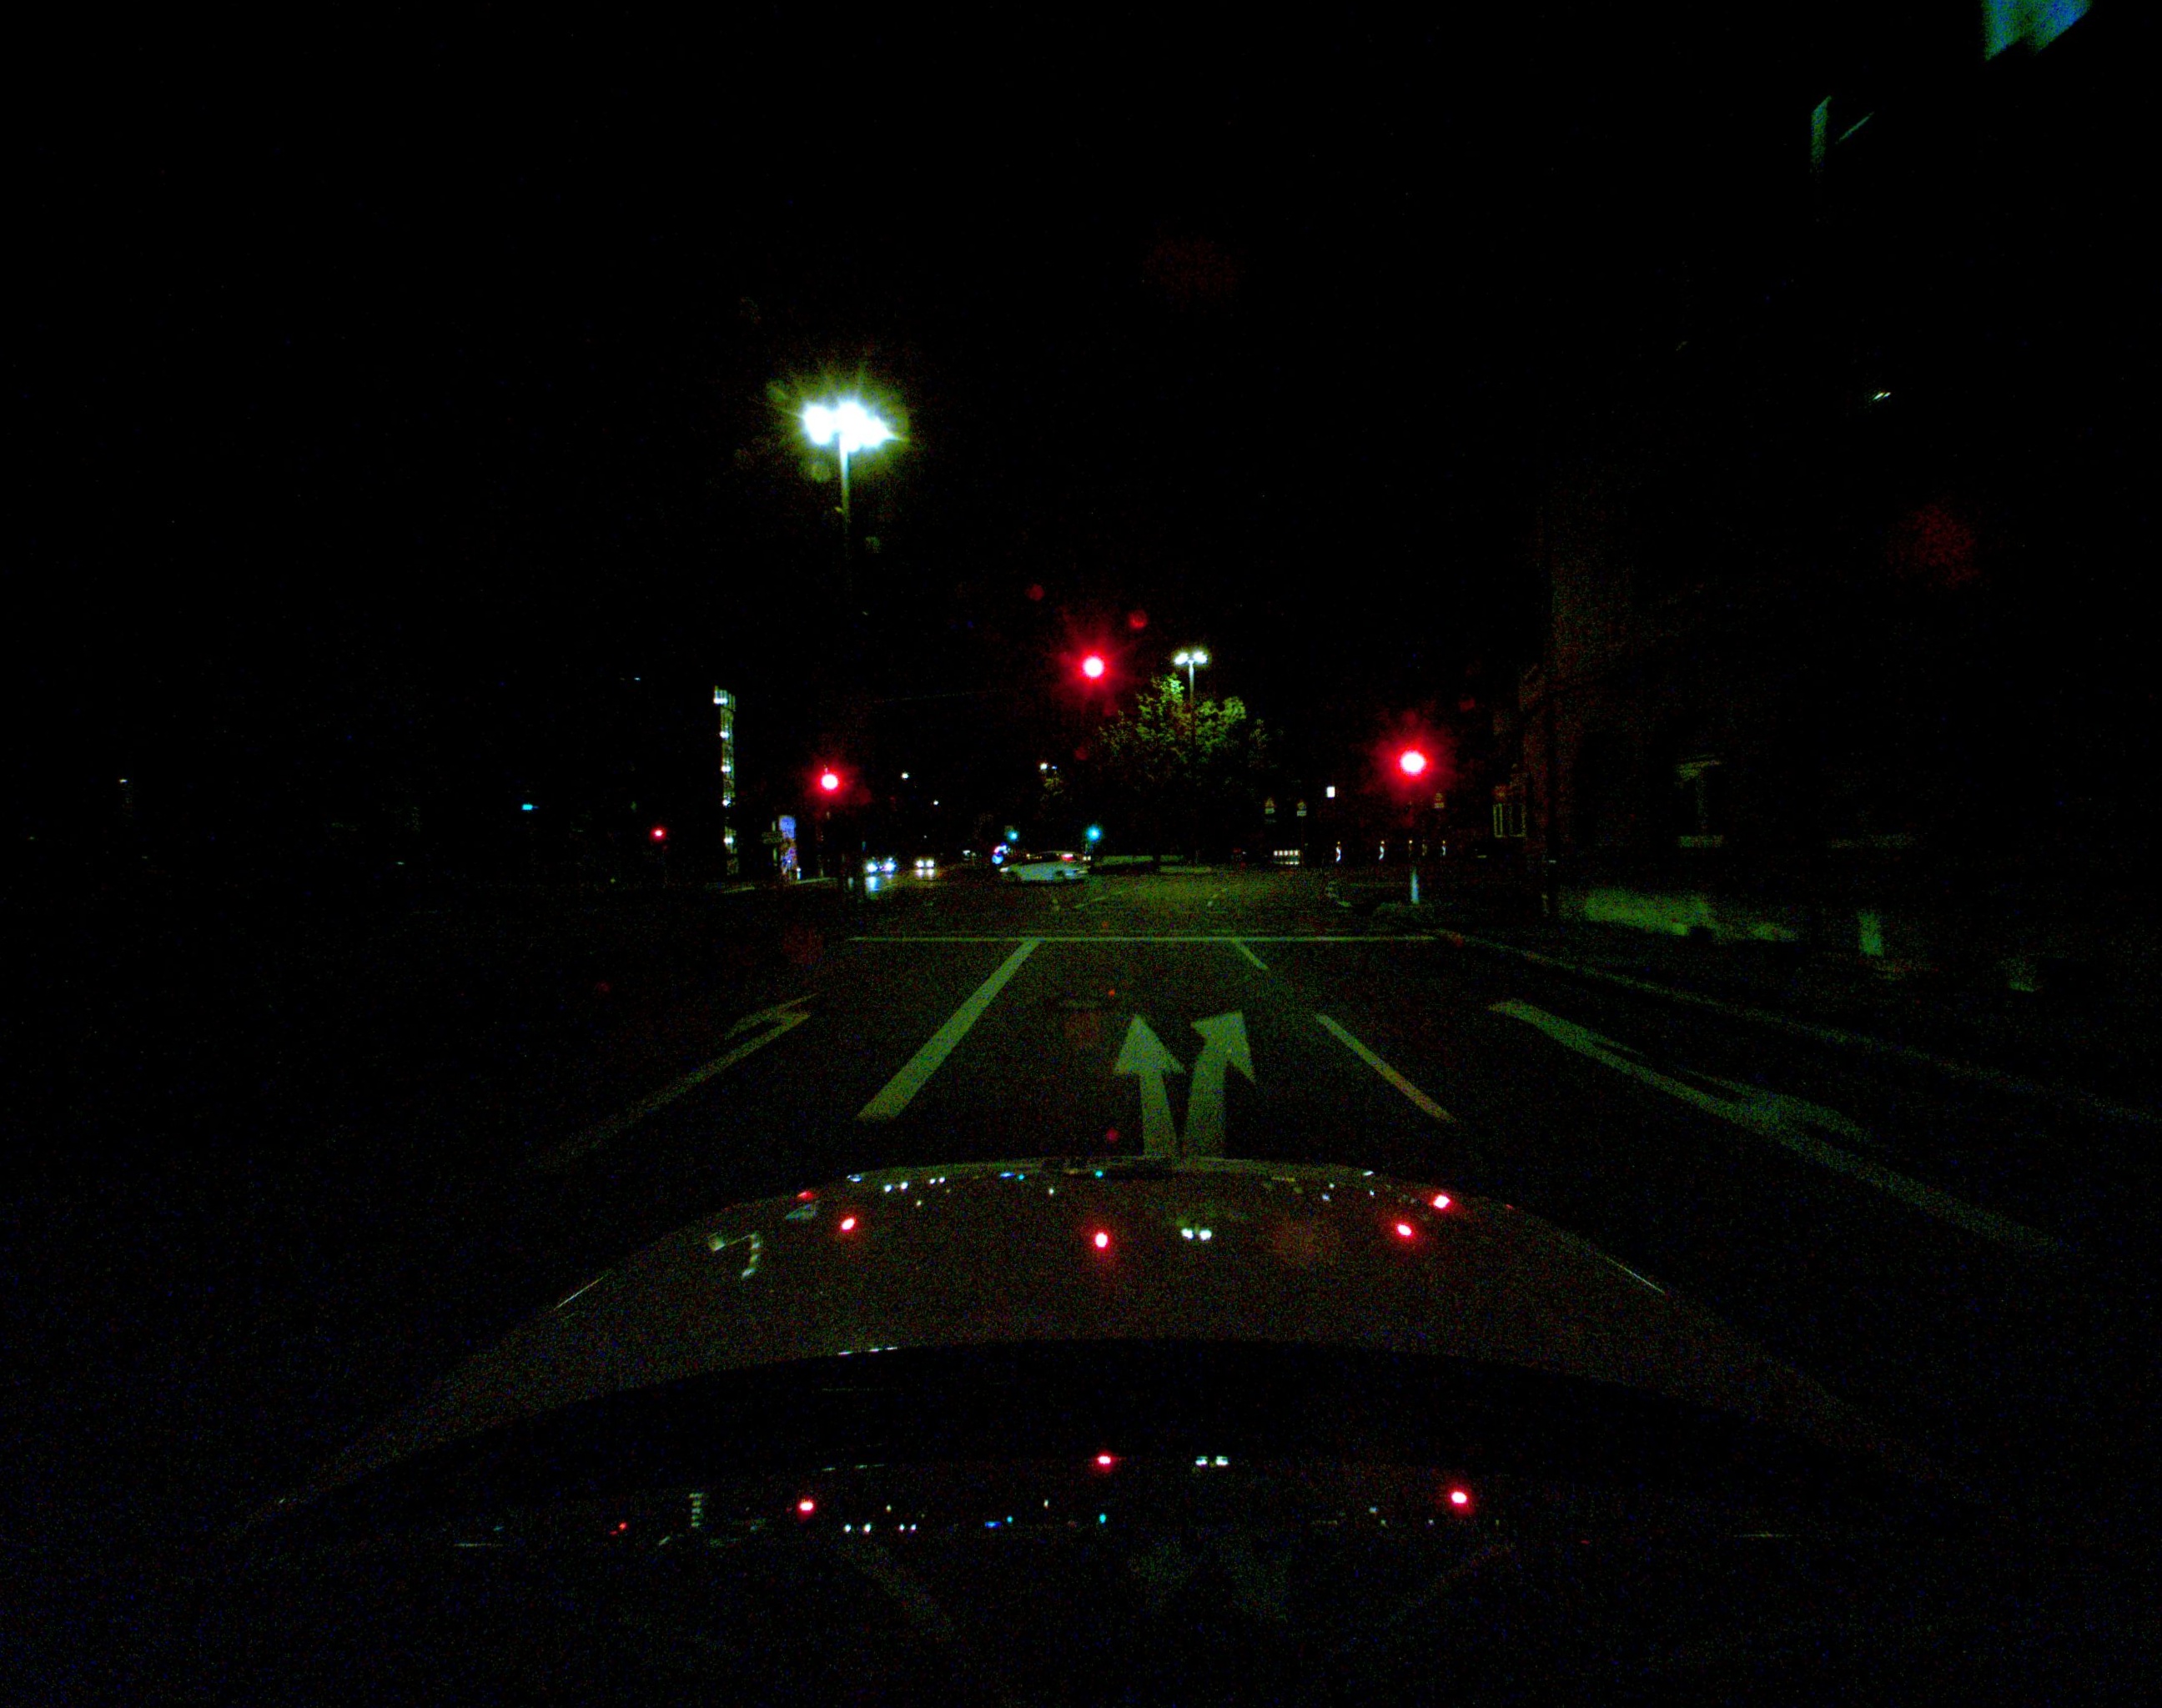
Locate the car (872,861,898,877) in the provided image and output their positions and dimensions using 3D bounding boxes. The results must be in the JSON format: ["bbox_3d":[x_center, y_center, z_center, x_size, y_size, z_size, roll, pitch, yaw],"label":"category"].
[{"bbox_3d":[-17.438,1.296,72.590,1.755,1.322,3.541,-2,0,-5],"label":"car"}]

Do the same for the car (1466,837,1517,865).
[{"bbox_3d":[24.838,-0.174,49.232,1.711,1.611,3.645,-2,-1,43],"label":"car"}]

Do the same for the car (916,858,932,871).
[{"bbox_3d":[-21.300,1.451,110.505,1.755,1.728,3.541,-2,-1,-5],"label":"car"}]

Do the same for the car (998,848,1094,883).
[{"bbox_3d":[-1.593,0.524,36.642,3.948,1.491,1.720,-2,-1,30],"label":"car"}]

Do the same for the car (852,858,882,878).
[{"bbox_3d":[-17.027,1.076,64.990,1.613,1.515,3.993,-2,0,-5],"label":"car"}]
